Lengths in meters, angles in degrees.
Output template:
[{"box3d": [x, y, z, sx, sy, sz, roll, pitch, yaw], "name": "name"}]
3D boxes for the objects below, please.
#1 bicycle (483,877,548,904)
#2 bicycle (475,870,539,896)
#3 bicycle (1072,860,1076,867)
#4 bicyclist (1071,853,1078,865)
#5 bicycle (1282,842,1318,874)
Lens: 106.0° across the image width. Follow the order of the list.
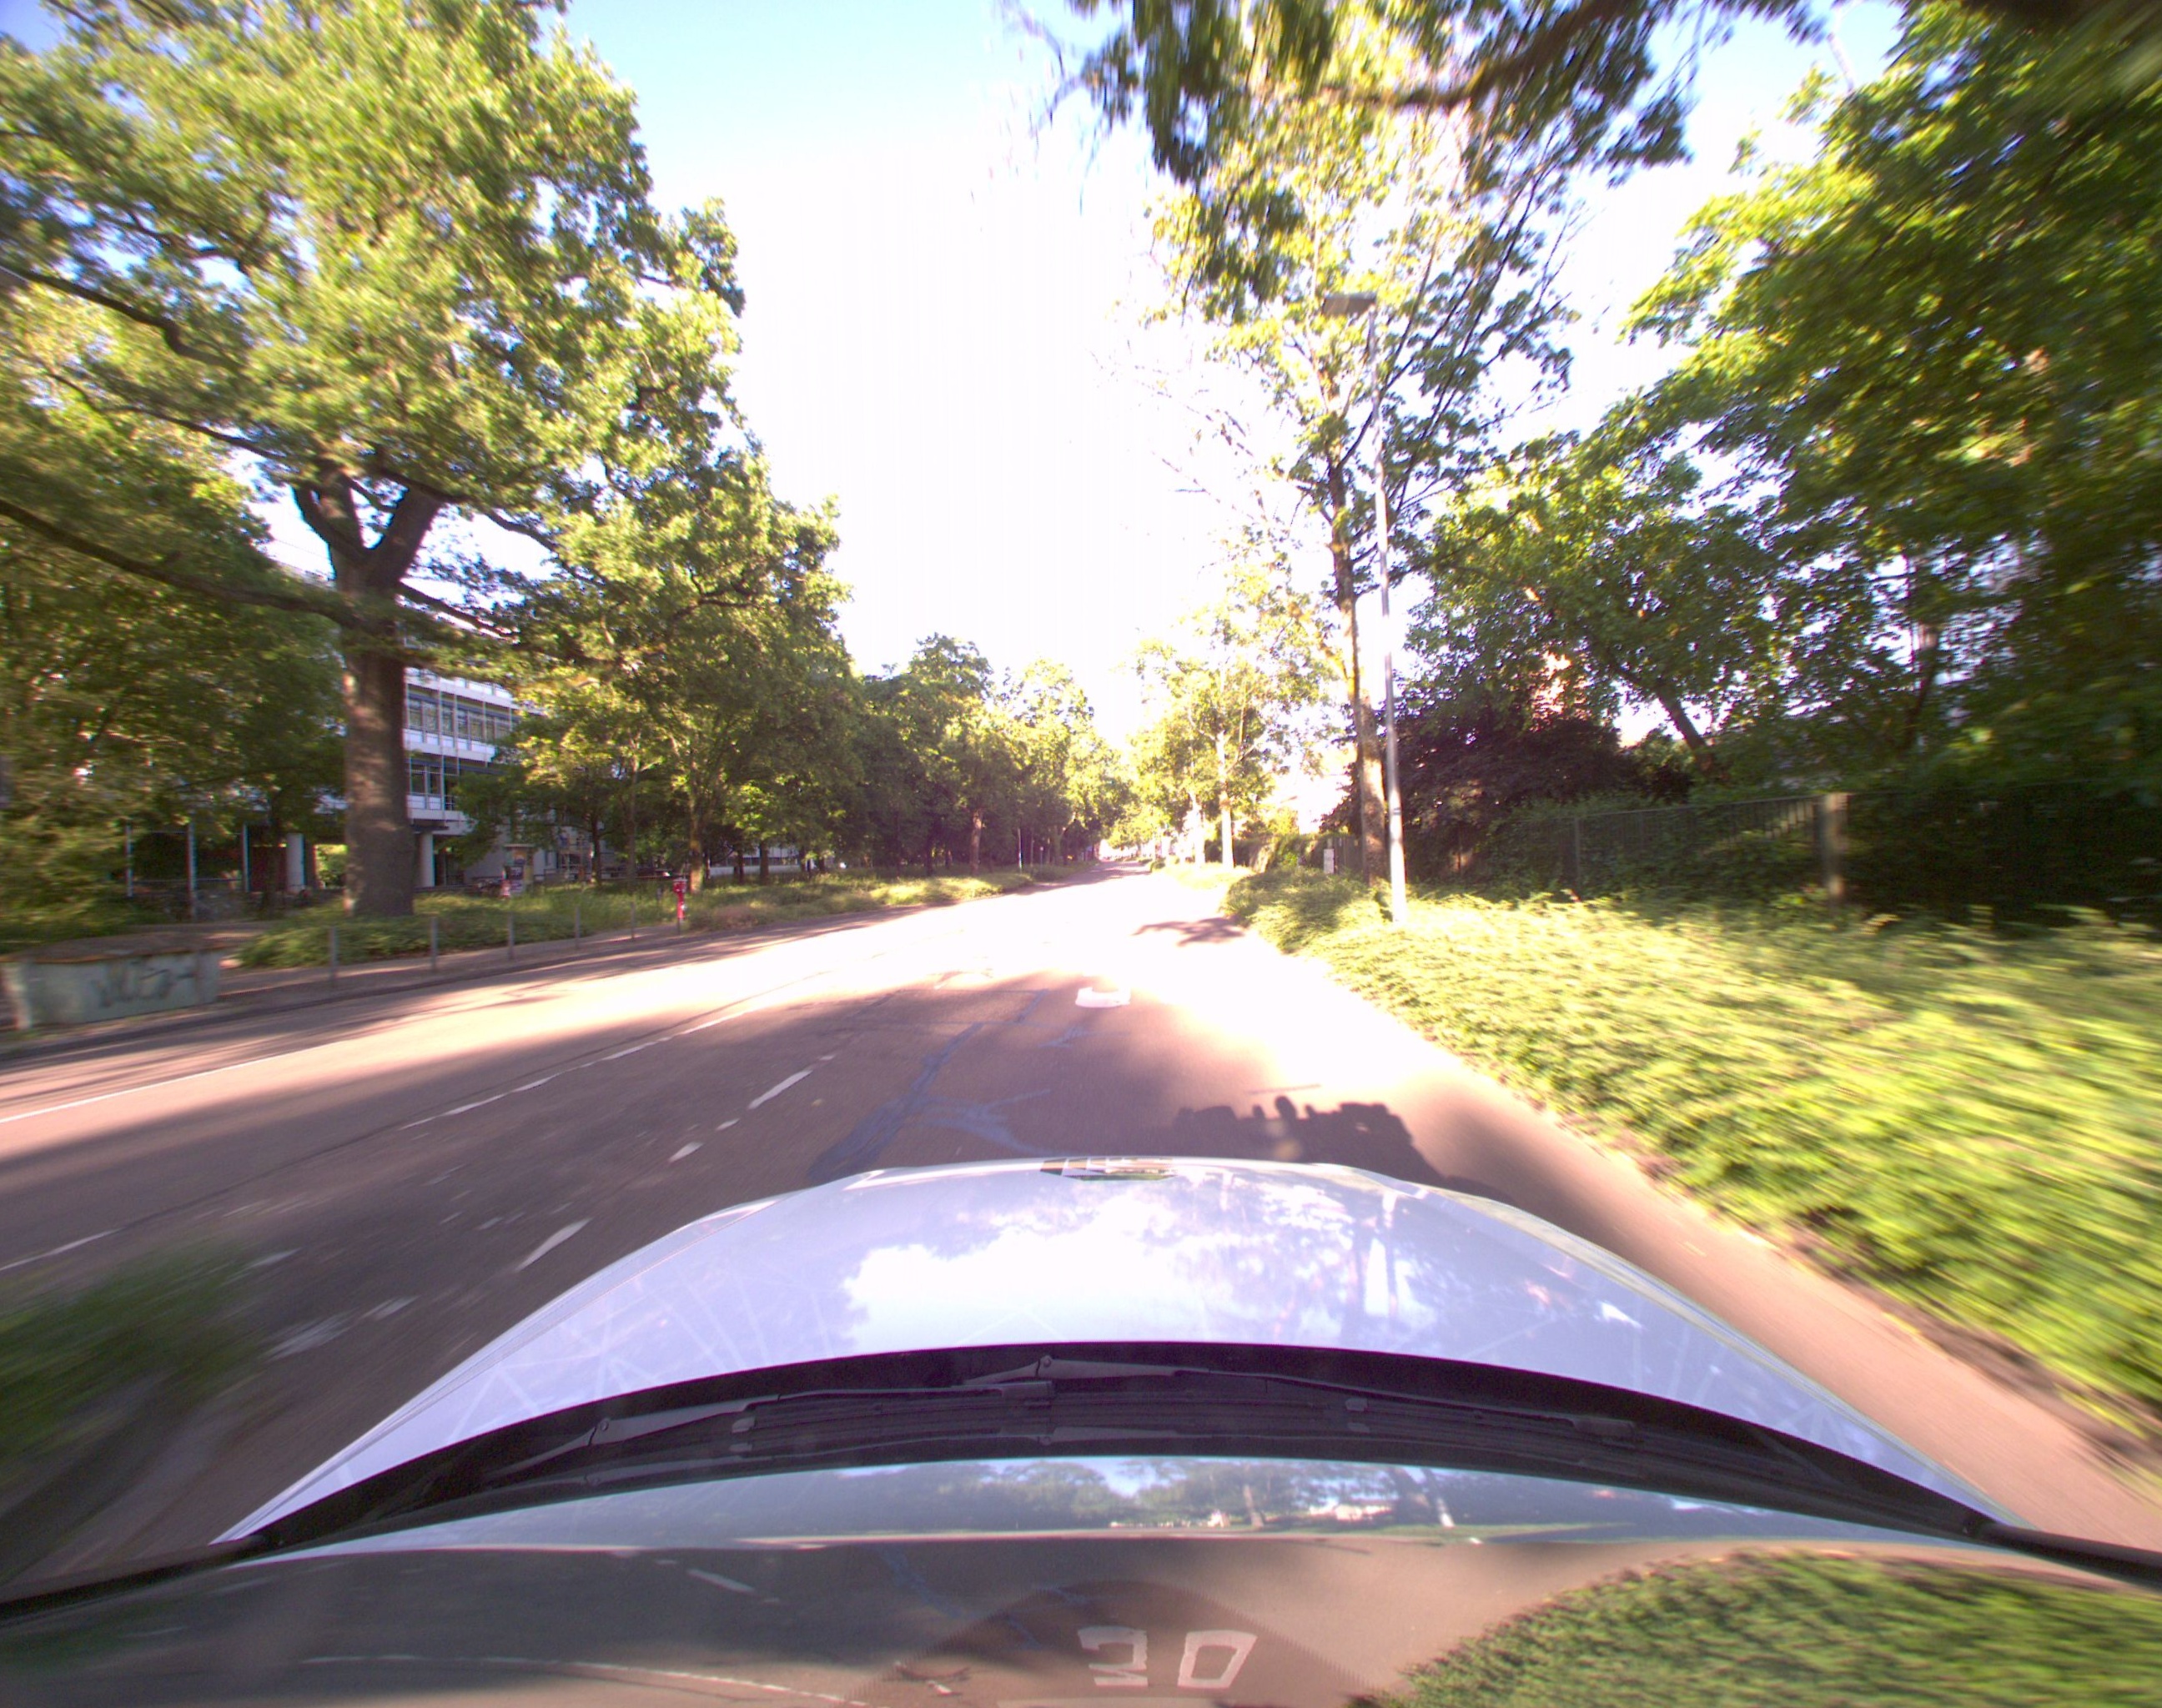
[{"box3d": [-26.230, 1.671, 37.812, 0.530, 1.071, 2.444, 2, 2, 41], "name": "bicycle"}, {"box3d": [-27.382, 1.382, 38.909, 0.531, 1.071, 2.648, 2, 2, 20], "name": "bicycle"}, {"box3d": [-1.000, 1.340, 119.407, 0.437, 0.978, 1.663, -2, 1, 3], "name": "bicycle"}, {"box3d": [-0.962, 0.720, 119.325, 0.863, 1.641, 1.115, -1, 1, 3], "name": "bicyclist"}, {"box3d": [9.216, 0.131, 34.167, 0.875, 1.200, 2.340, -4, 0, 28], "name": "bicycle"}]
